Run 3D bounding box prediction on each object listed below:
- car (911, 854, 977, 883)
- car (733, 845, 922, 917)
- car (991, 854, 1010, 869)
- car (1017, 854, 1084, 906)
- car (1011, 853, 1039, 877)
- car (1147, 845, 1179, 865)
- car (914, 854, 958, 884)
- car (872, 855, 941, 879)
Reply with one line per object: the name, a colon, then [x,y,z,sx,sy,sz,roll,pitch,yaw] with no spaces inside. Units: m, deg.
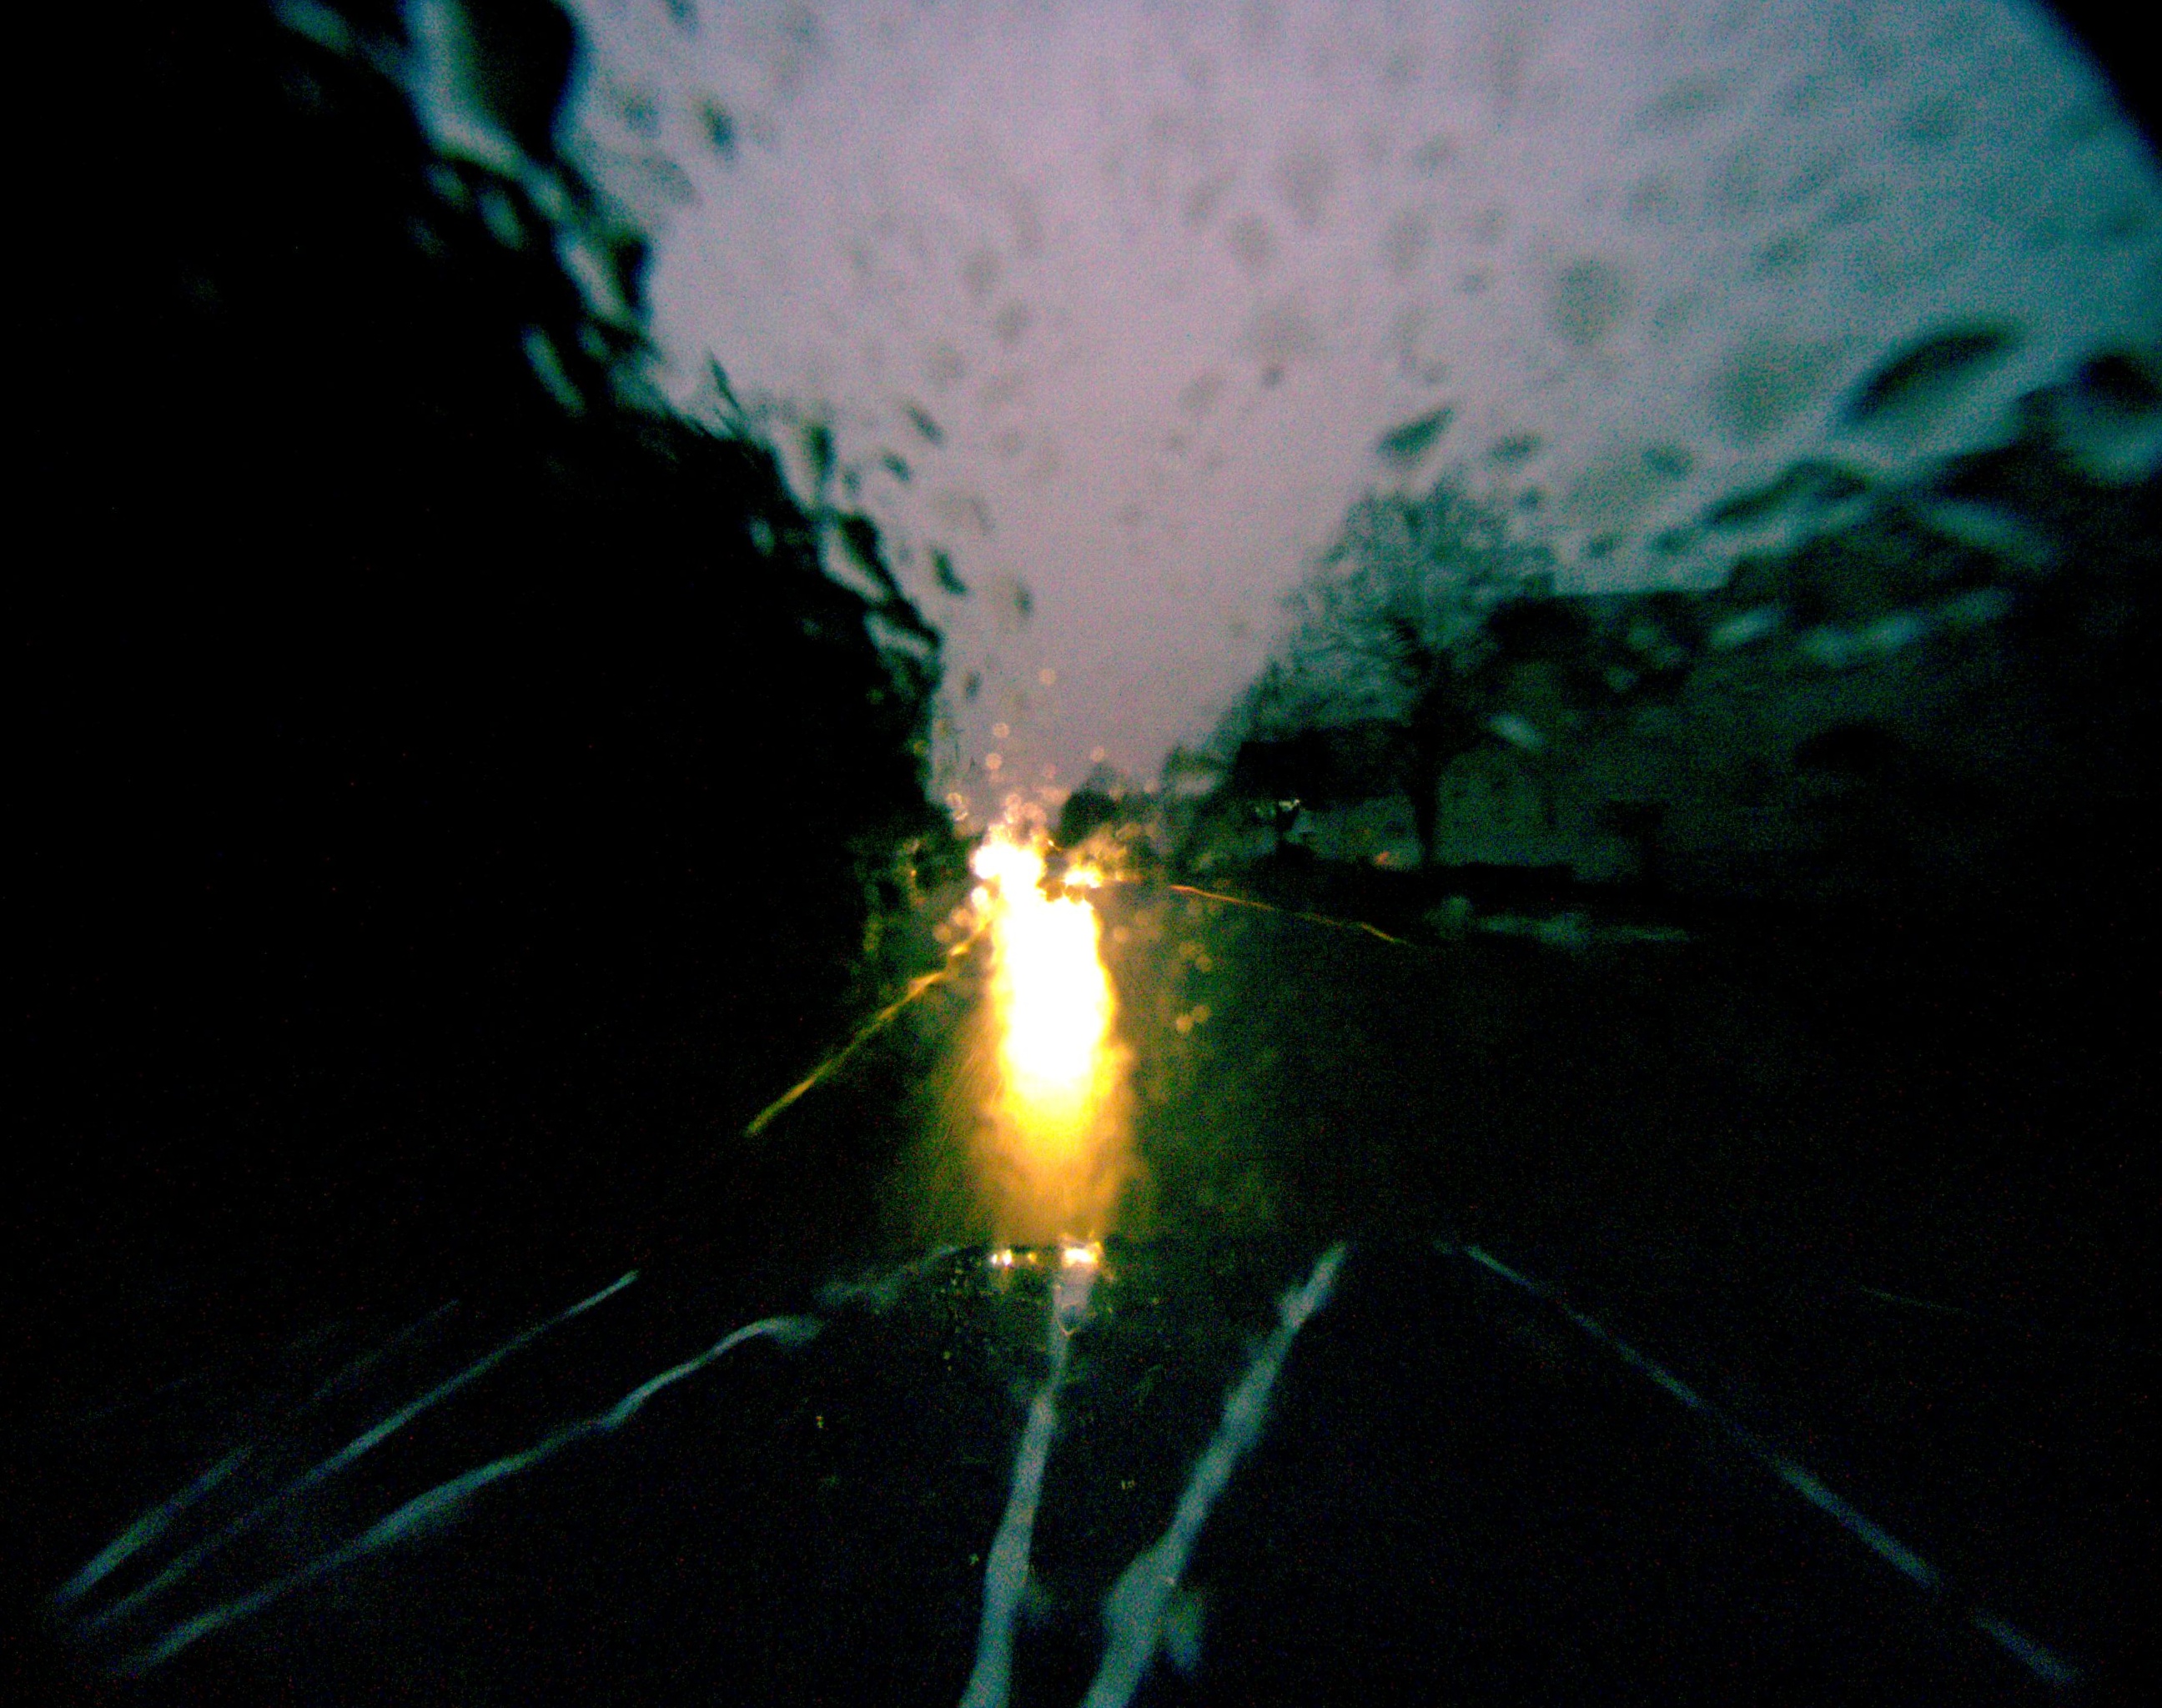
car: [-8.906,0.912,49.542,4.115,1.696,1.998,-2,1,-8]
car: [-6.488,0.681,19.882,4.336,1.722,1.999,1,0,-7]
car: [-9.300,0.817,87.466,1.777,1.608,3.868,-2,1,-12]
car: [-1.113,0.810,25.580,1.999,1.575,3.998,-1,0,-6]
car: [-4.310,0.807,58.031,2.000,1.660,3.998,-1,0,-6]
car: [7.468,0.119,69.539,2.000,1.745,4.565,-1,0,-6]
car: [-7.994,0.802,42.128,1.899,1.545,4.753,-1,0,-5]
car: [-12.988,0.954,56.769,4.748,1.620,1.906,-1,1,-5]
